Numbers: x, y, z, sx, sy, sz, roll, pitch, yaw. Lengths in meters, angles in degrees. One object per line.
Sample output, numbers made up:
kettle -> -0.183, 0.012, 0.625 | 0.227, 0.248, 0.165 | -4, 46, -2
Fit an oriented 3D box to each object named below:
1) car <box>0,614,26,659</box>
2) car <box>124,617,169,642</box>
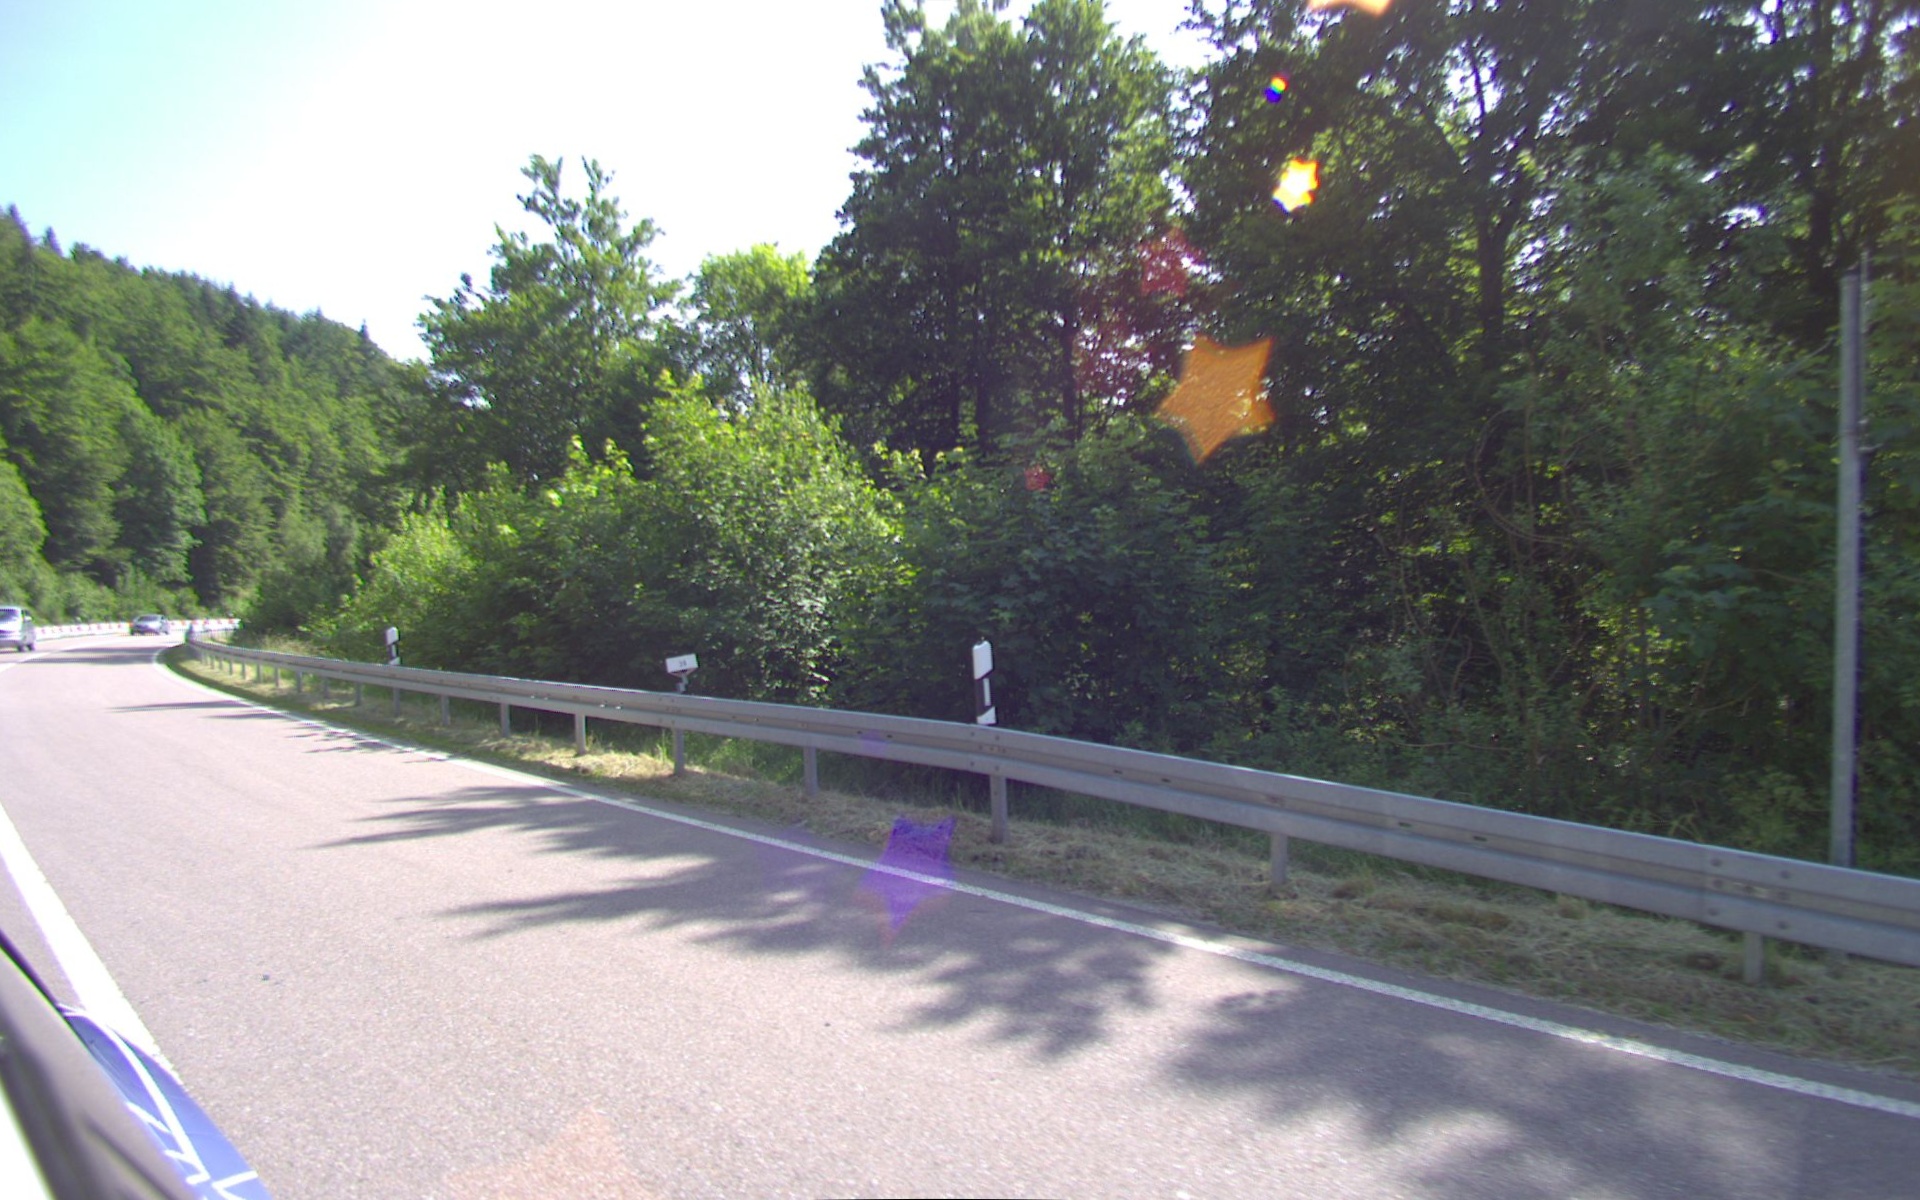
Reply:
car -> -39.622, 1.471, 41.591 | 1.628, 1.773, 3.800 | 0, -1, -40
car -> -58.283, 2.055, 72.554 | 1.966, 1.655, 4.012 | -2, 0, -31
